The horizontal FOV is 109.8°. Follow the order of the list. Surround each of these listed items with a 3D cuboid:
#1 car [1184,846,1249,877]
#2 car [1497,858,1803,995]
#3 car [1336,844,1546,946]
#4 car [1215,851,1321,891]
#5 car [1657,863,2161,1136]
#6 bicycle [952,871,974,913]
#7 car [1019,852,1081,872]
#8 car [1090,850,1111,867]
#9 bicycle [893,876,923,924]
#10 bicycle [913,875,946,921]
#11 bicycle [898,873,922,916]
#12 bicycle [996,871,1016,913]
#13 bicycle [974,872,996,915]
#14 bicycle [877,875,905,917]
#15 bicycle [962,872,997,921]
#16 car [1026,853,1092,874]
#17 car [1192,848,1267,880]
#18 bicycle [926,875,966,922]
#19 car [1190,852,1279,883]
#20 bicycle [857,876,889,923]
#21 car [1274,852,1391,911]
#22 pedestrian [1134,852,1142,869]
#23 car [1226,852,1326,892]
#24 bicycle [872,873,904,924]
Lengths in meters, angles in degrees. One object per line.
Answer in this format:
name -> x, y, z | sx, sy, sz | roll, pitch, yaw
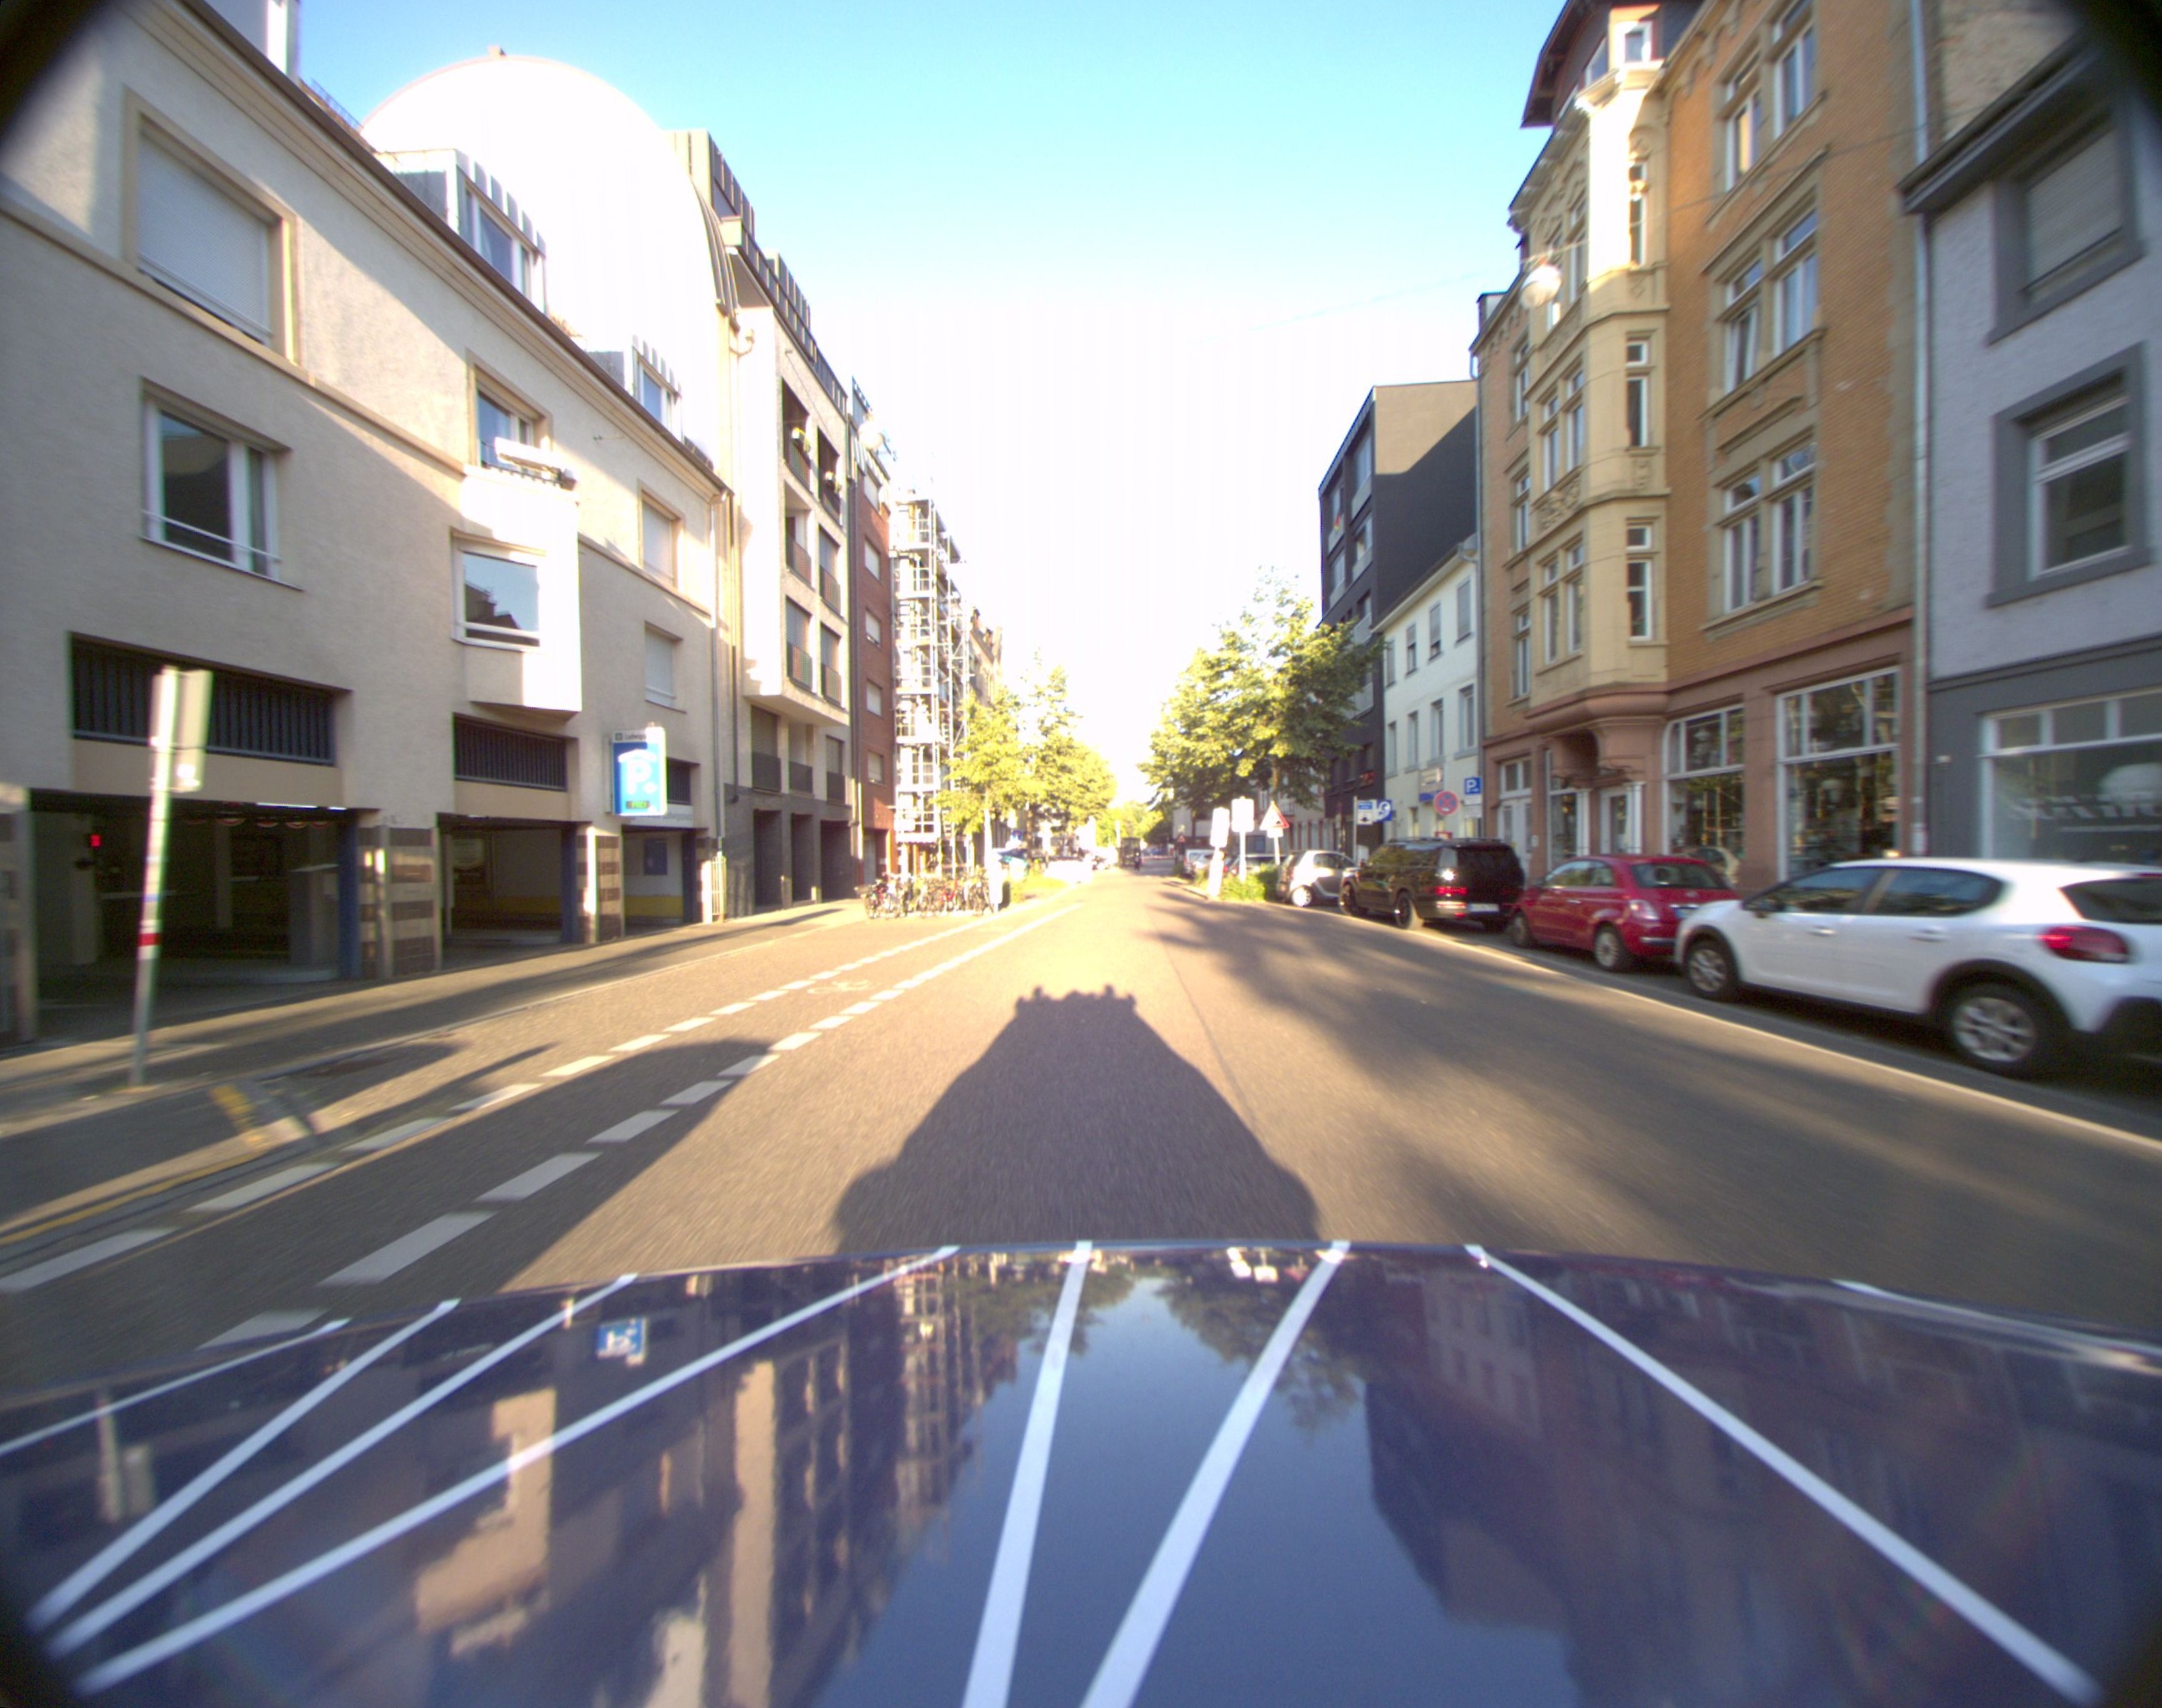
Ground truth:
car -> 8.275, 0.433, 46.619 | 3.818, 1.839, 1.701 | -1, 1, 7
car -> 7.502, 0.837, 10.504 | 1.777, 1.506, 3.485 | 1, 1, 5
car -> 6.874, 0.657, 15.215 | 1.909, 1.718, 4.701 | 0, 1, -1
car -> 7.535, 0.667, 30.913 | 3.901, 1.508, 1.857 | -1, 0, 5
car -> 7.082, 0.882, 6.321 | 1.777, 1.506, 3.951 | 1, 1, 4
bicycle -> -3.308, 1.040, 21.231 | 0.383, 1.094, 1.521 | -1, 1, -17
car -> -2.322, 0.622, 57.932 | 4.536, 1.502, 1.912 | 0, -1, 4
car -> 1.940, 0.403, 75.354 | 1.708, 1.575, 3.680 | -1, 1, 6
bicycle -> -4.393, 1.156, 19.344 | 0.383, 1.094, 1.523 | -1, 1, 1
bicycle -> -3.904, 1.107, 19.672 | 0.382, 1.094, 1.566 | -1, 1, 5
bicycle -> -4.706, 1.094, 20.995 | 0.383, 1.094, 1.522 | -1, 1, -3
bicycle -> -2.084, 1.047, 21.225 | 0.383, 1.094, 1.523 | -1, 1, 1
bicycle -> -2.627, 1.071, 20.881 | 0.383, 1.094, 1.523 | -1, 1, 1
bicycle -> -5.317, 1.158, 21.302 | 0.383, 1.094, 1.523 | -1, 1, 0
bicycle -> -2.570, 1.051, 19.330 | 0.363, 1.134, 1.566 | 0, 1, 12
car -> -1.587, 0.688, 54.964 | 4.535, 1.471, 1.868 | 0, 1, 6
car -> 8.055, 0.546, 41.532 | 3.833, 1.576, 1.742 | -2, 1, 7
bicycle -> -3.420, 1.102, 19.343 | 0.371, 1.101, 1.525 | 0, 1, 16
car -> 7.869, 0.673, 39.185 | 4.218, 1.507, 1.762 | -1, 1, 1
bicycle -> -5.381, 1.156, 19.751 | 0.383, 1.094, 1.523 | -1, 1, 0
car -> 6.845, 0.739, 20.868 | 2.700, 1.511, 1.572 | 1, 0, 1
pedestrian -> 5.279, 0.568, 70.005 | 0.672, 1.585, 0.469 | 0, 1, 10
car -> 7.212, 0.646, 28.333 | 3.403, 1.384, 1.687 | -1, 0, 6
bicycle -> -4.895, 1.104, 19.372 | 0.383, 1.182, 1.523 | -2, 1, 0
